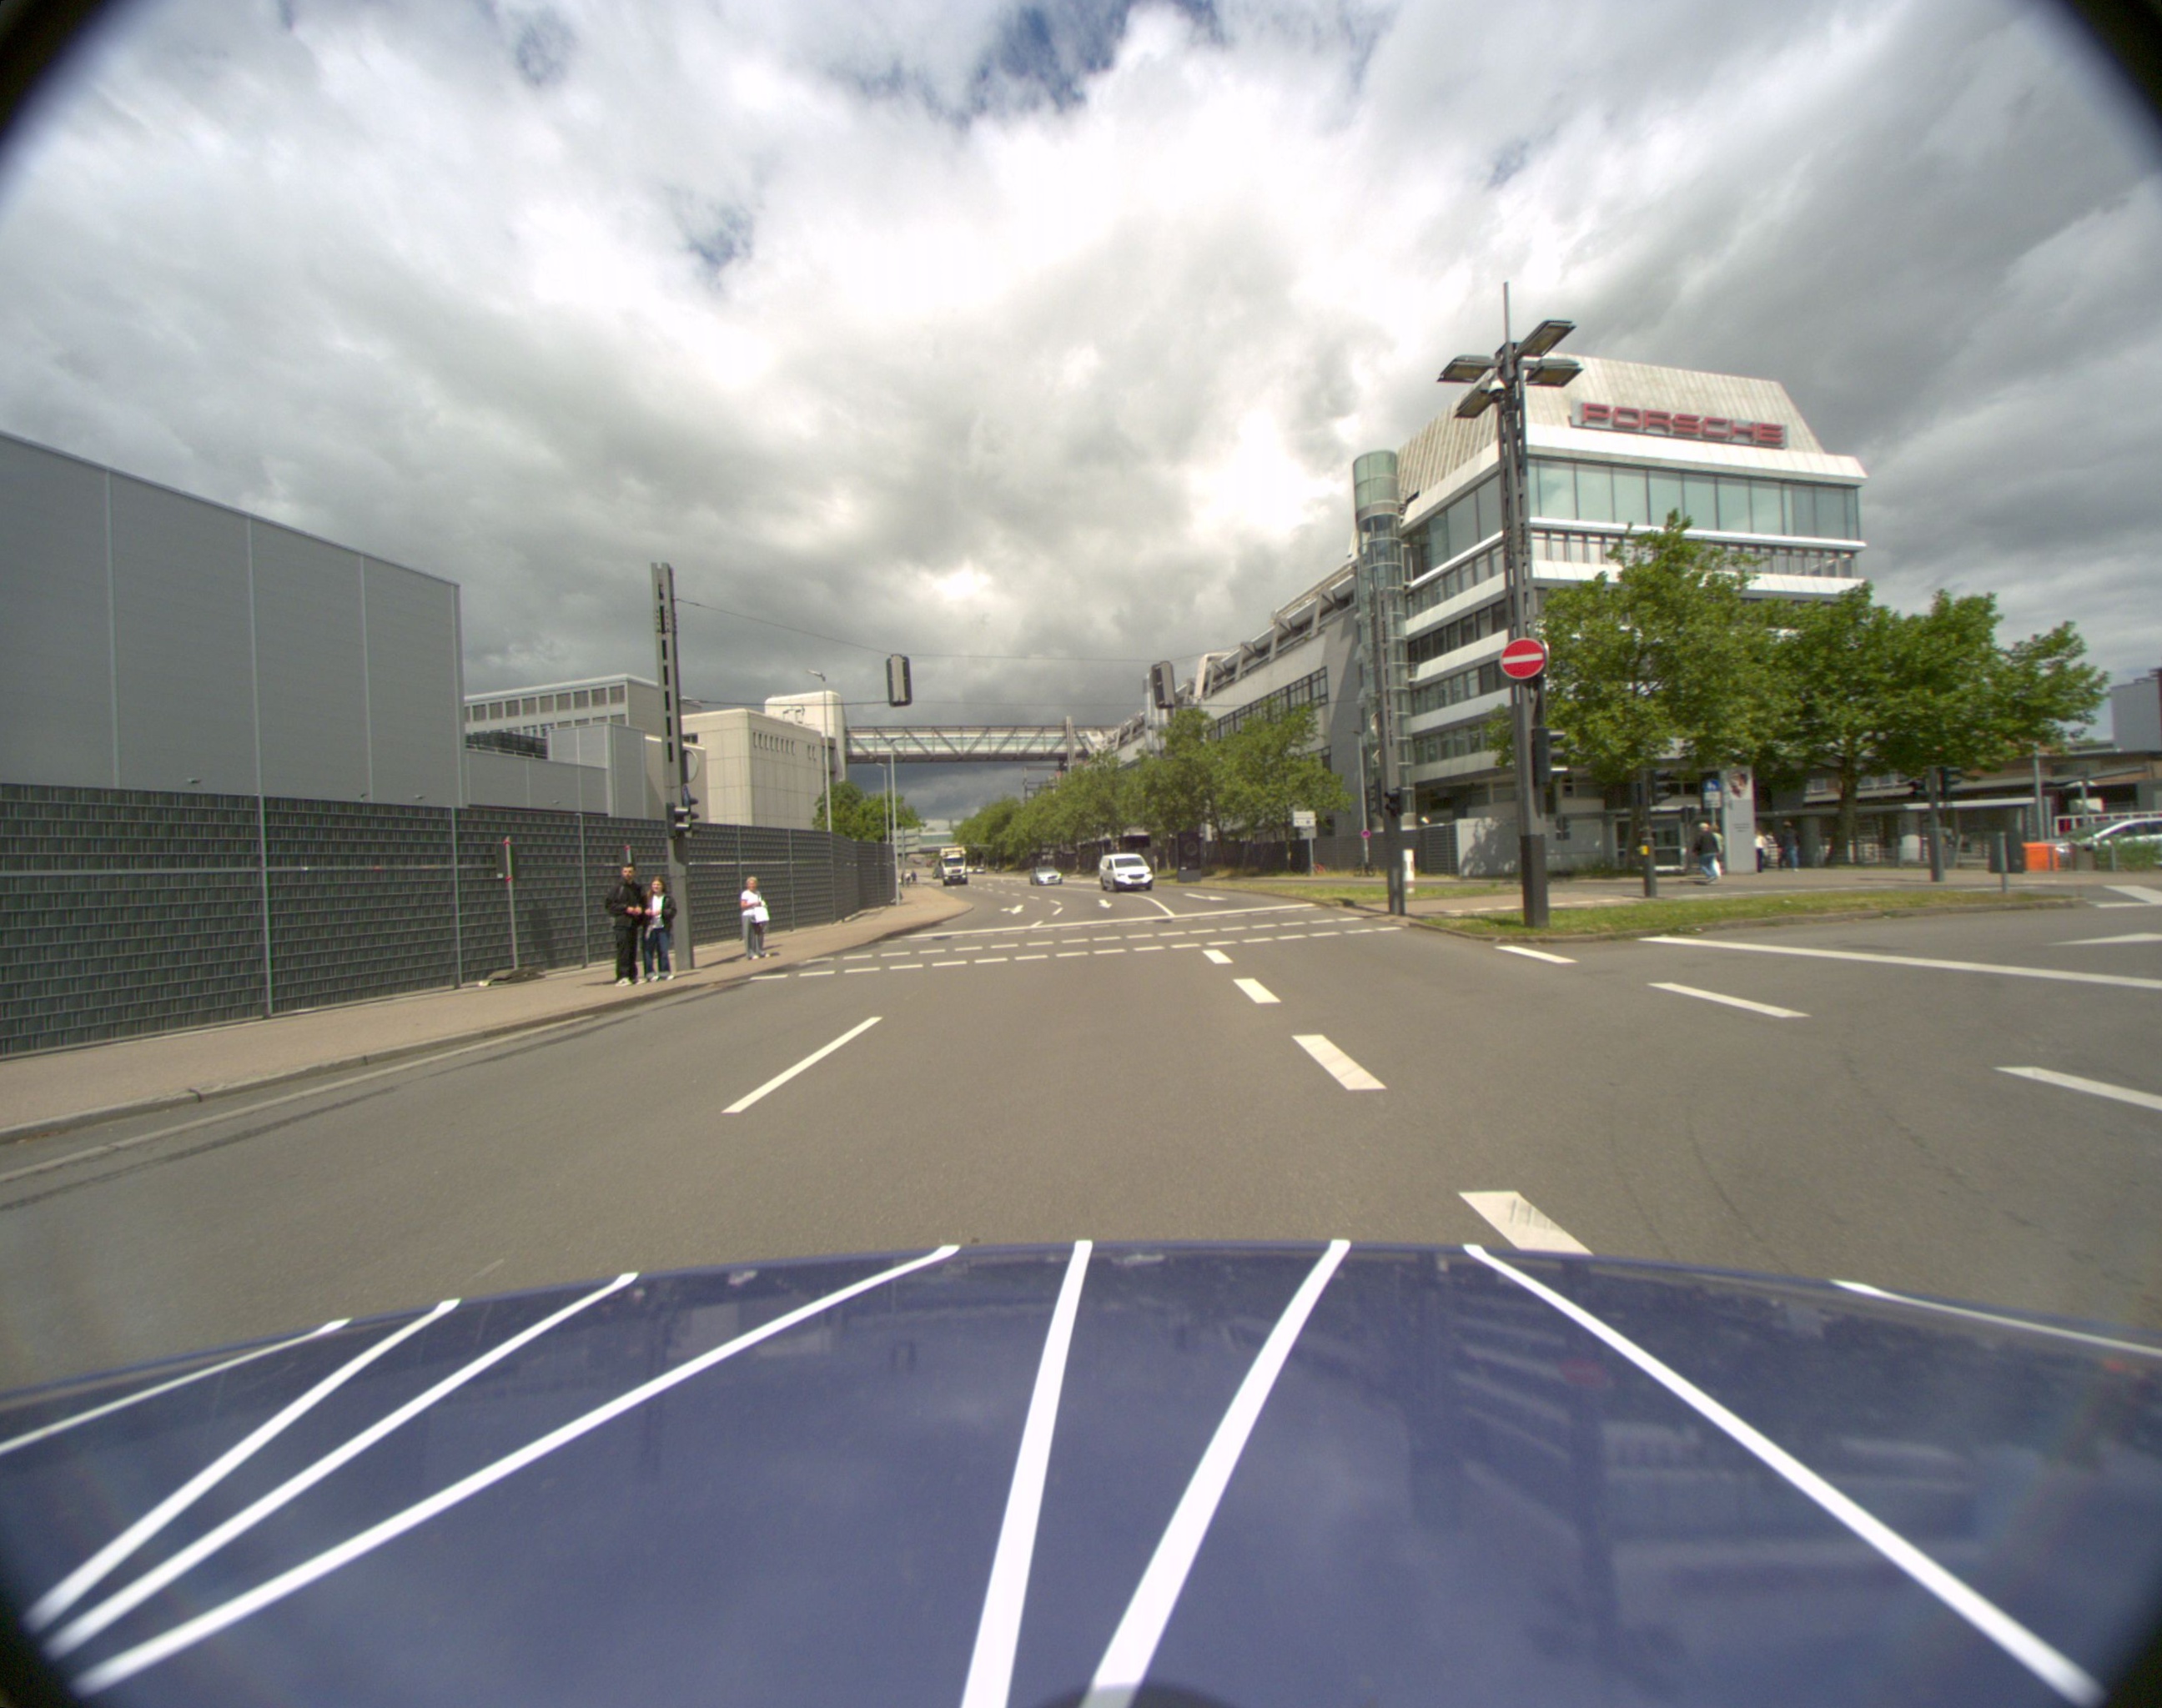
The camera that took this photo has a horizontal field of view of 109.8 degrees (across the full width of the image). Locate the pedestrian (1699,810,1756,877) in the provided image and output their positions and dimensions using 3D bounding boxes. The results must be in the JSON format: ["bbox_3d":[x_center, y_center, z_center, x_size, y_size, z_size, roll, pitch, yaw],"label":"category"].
[{"bbox_3d":[20.651,-0.334,24.305,0.954,2.043,0.951,-3,1,5],"label":"pedestrian"}]

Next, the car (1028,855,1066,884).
[{"bbox_3d":[-2.616,1.131,57.562,1.874,1.944,4.705,-4,1,-13],"label":"car"}]

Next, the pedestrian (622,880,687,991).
[{"bbox_3d":[-6.579,1.235,11.725,0.464,1.606,0.664,-2,2,42],"label":"pedestrian"}]

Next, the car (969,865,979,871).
[{"bbox_3d":[-23.507,3.046,167.456,1.698,1.406,4.140,-1,0,-14],"label":"car"}]

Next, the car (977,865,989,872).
[{"bbox_3d":[-19.807,2.965,153.589,1.885,1.496,4.186,-1,-1,-14],"label":"car"}]

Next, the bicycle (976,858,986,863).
[{"bbox_3d":[-28.977,1.900,219.969,2.565,1.171,0.615,-4,1,-14],"label":"bicycle"}]

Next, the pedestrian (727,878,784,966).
[{"bbox_3d":[-6.336,1.309,14.823,0.661,1.599,0.822,-4,1,-3],"label":"pedestrian"}]

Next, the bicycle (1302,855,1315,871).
[{"bbox_3d":[14.486,0.574,48.428,0.297,1.000,1.251,-4,1,-4],"label":"bicycle"}]

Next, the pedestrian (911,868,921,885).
[{"bbox_3d":[-16.662,2.280,76.816,0.798,1.711,0.730,-4,1,-18],"label":"pedestrian"}]

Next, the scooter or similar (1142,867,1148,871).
[{"bbox_3d":[6.470,1.520,76.796,0.538,0.320,1.273,-3,-1,11],"label":"scooter or similar"}]

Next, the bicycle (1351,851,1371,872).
[{"bbox_3d":[15.484,0.411,42.057,0.297,1.125,1.483,-4,1,-11],"label":"bicycle"}]

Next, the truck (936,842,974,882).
[{"bbox_3d":[-13.522,0.819,80.773,2.716,3.863,10.726,-4,1,-15],"label":"truck"}]

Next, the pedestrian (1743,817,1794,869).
[{"bbox_3d":[24.379,-0.374,26.951,0.867,1.763,1.033,-4,1,-28],"label":"pedestrian"}]

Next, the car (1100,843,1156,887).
[{"bbox_3d":[2.267,0.591,37.718,1.826,2.001,4.389,-3,-1,-8],"label":"car"}]

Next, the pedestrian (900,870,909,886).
[{"bbox_3d":[-18.124,2.477,78.110,0.797,1.588,0.730,-4,1,-17],"label":"pedestrian"}]

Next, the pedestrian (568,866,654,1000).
[{"bbox_3d":[-6.956,1.132,11.259,0.660,1.855,0.795,-2,2,38],"label":"pedestrian"}]

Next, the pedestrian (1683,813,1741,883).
[{"bbox_3d":[19.440,-0.190,23.438,0.954,2.043,0.951,-3,1,5],"label":"pedestrian"}]

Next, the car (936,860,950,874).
[{"bbox_3d":[-22.595,2.084,124.130,1.874,1.944,4.705,-4,2,-13],"label":"car"}]

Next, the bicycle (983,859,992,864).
[{"bbox_3d":[-25.571,2.070,207.800,2.564,1.079,0.615,-4,1,-9],"label":"bicycle"}]

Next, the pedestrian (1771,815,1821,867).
[{"bbox_3d":[25.636,-0.454,27.253,0.867,1.763,1.033,-4,1,-28],"label":"pedestrian"}]

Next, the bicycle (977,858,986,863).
[{"bbox_3d":[-28.754,1.940,219.065,2.565,1.171,0.615,-4,1,-14],"label":"bicycle"}]
